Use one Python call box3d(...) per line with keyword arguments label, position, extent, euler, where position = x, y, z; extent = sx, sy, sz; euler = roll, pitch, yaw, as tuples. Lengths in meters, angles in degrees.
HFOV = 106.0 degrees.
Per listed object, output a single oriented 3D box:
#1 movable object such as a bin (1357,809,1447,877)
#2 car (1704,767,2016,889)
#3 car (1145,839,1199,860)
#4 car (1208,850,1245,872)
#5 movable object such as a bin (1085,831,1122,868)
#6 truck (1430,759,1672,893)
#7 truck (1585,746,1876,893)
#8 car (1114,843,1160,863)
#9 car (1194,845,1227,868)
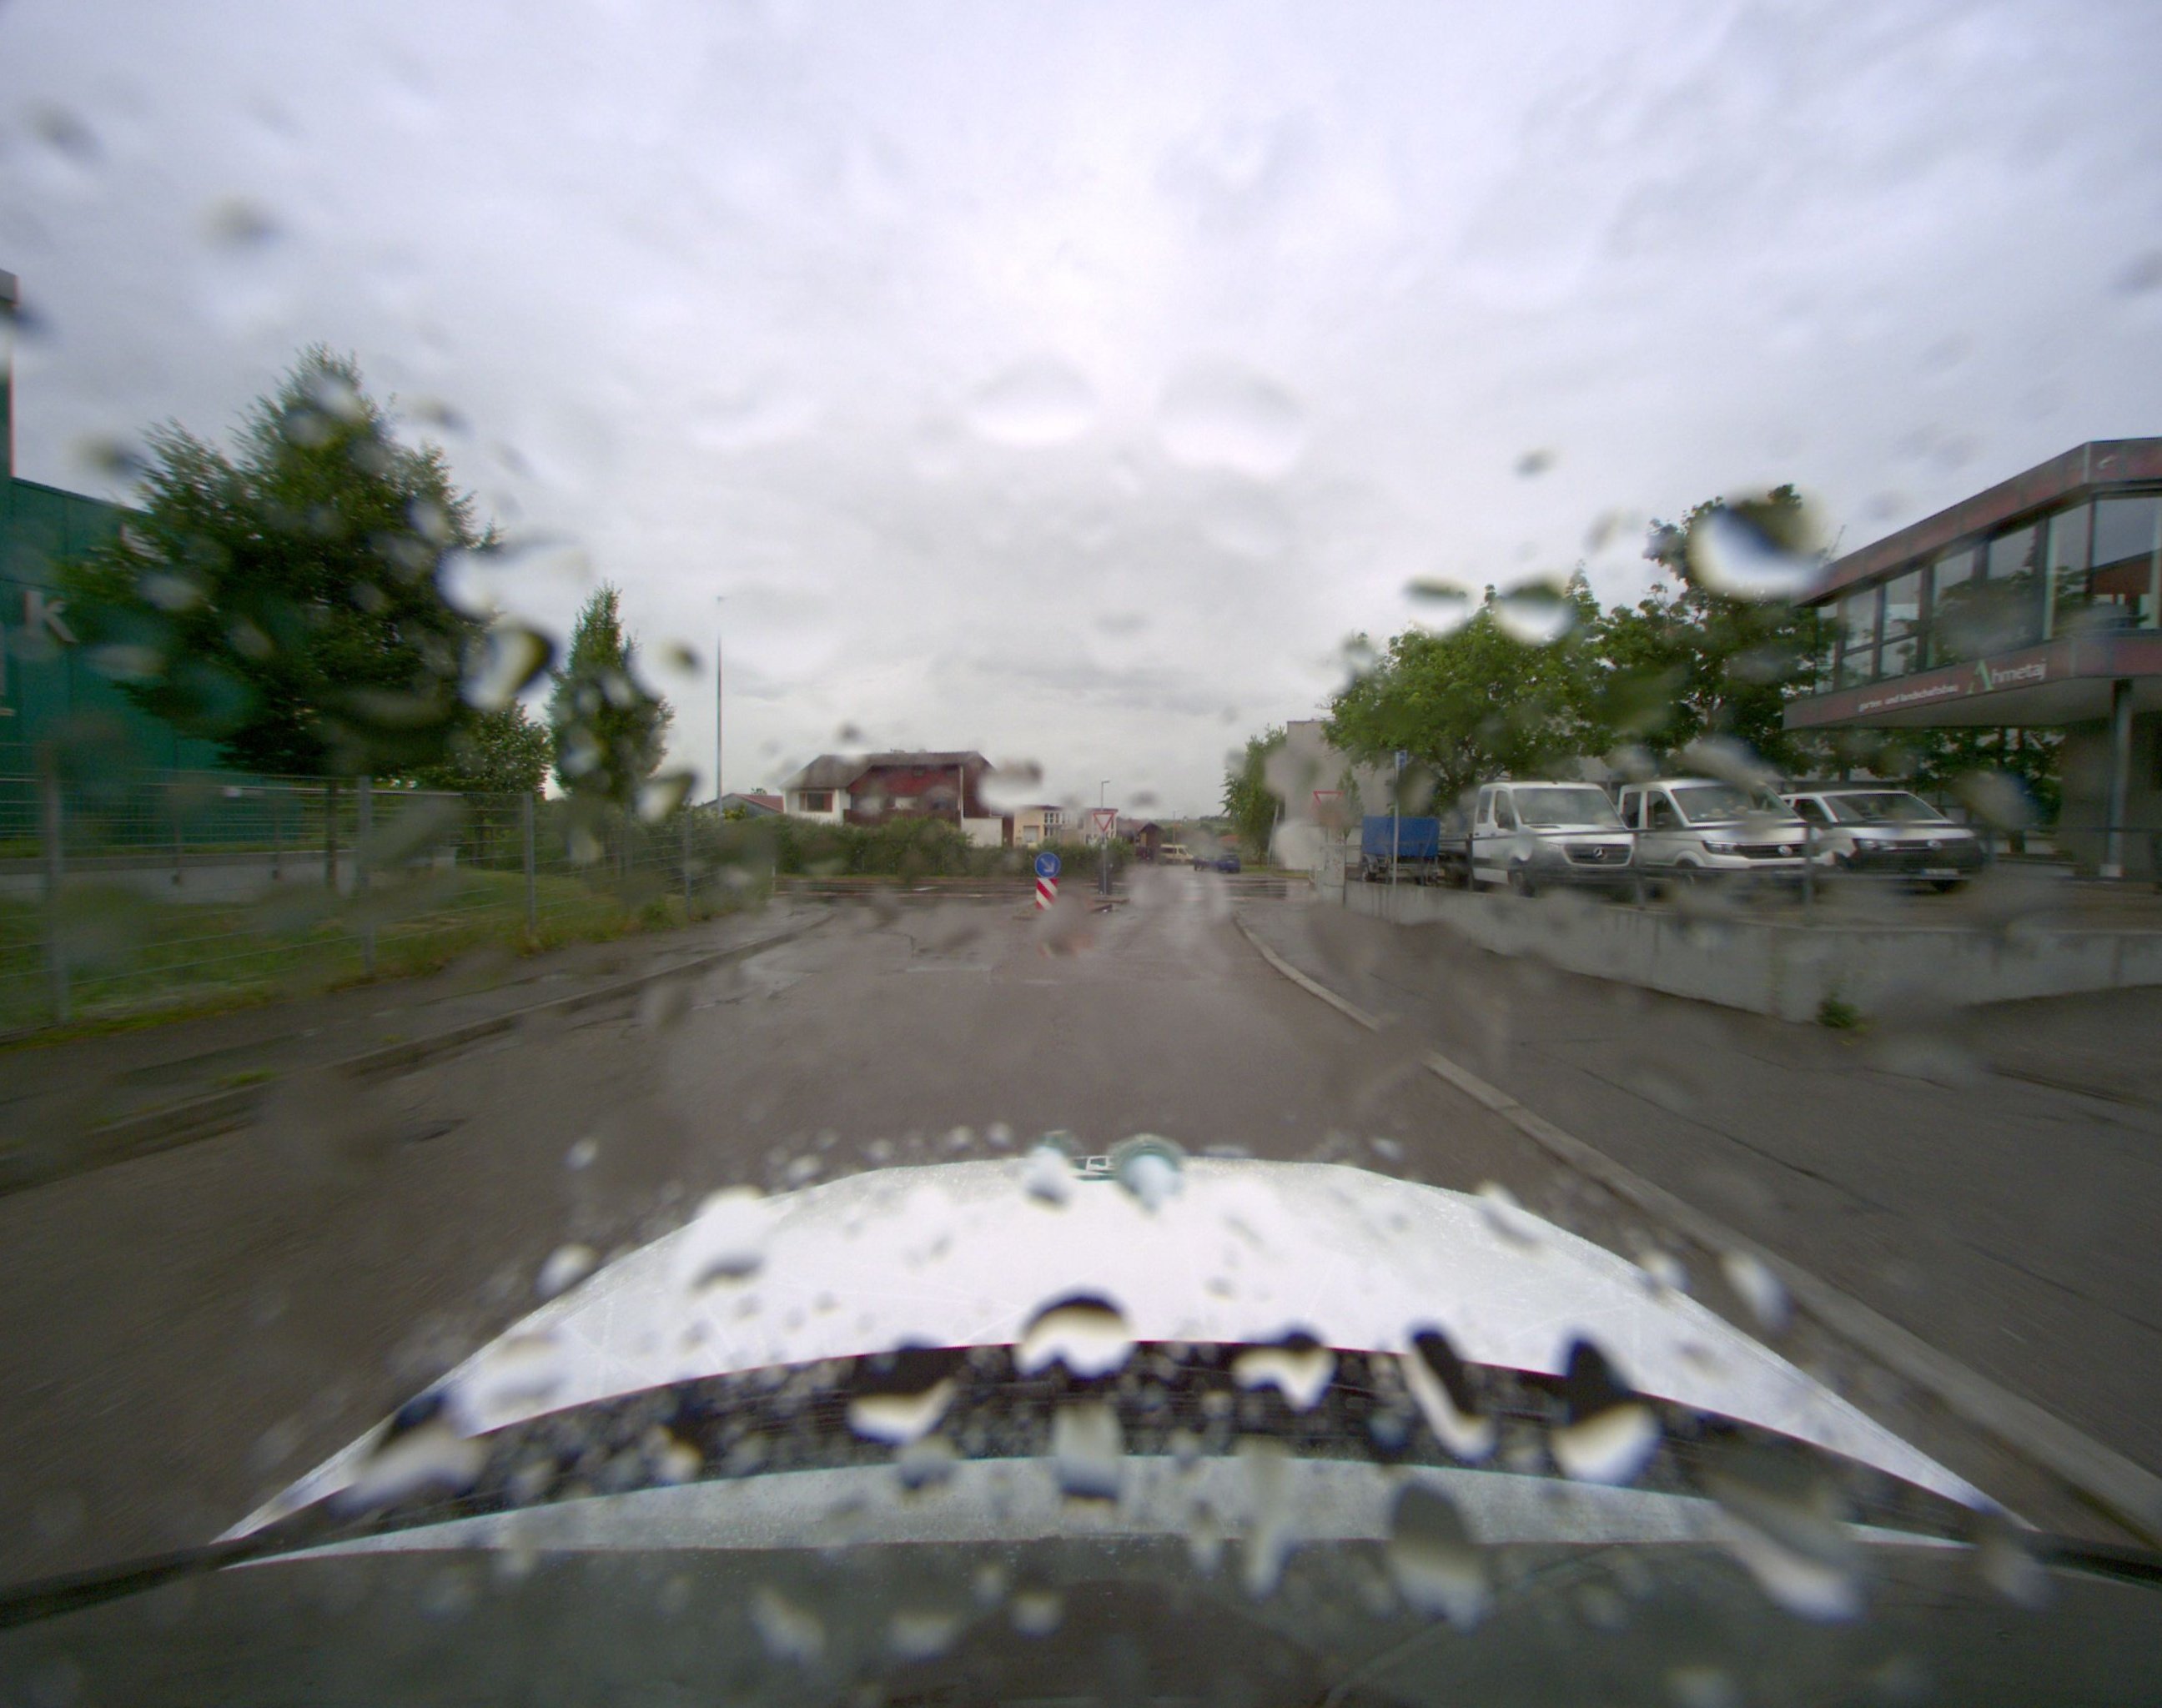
box3d(label="movable object such as a bin", position=(7.434, -0.239, 18.982), extent=(1.303, 1.500, 1.857), euler=(0, 0, -3))
box3d(label="car", position=(14.848, -0.437, 16.036), extent=(2.044, 2.013, 4.952), euler=(0, 0, 10))
box3d(label="car", position=(10.929, -0.512, 98.049), extent=(5.955, 2.415, 2.477), euler=(0, 0, 24))
box3d(label="car", position=(11.092, 0.495, 62.505), extent=(1.946, 1.610, 4.444), euler=(0, 0, -2))
box3d(label="movable object such as a bin", position=(1.644, -0.299, 57.571), extent=(1.719, 2.556, 3.355), euler=(0, 0, 18))
box3d(label="truck", position=(9.017, -0.465, 16.366), extent=(2.095, 2.214, 5.662), euler=(0, 0, 6))
box3d(label="truck", position=(11.925, -0.554, 15.524), extent=(2.229, 2.342, 4.849), euler=(0, 0, 9))
box3d(label="car", position=(5.556, -0.113, 80.678), extent=(2.011, 1.905, 4.356), euler=(0, 0, -44))
box3d(label="car", position=(10.921, 0.214, 68.901), extent=(2.067, 1.835, 4.469), euler=(0, 0, 0))
